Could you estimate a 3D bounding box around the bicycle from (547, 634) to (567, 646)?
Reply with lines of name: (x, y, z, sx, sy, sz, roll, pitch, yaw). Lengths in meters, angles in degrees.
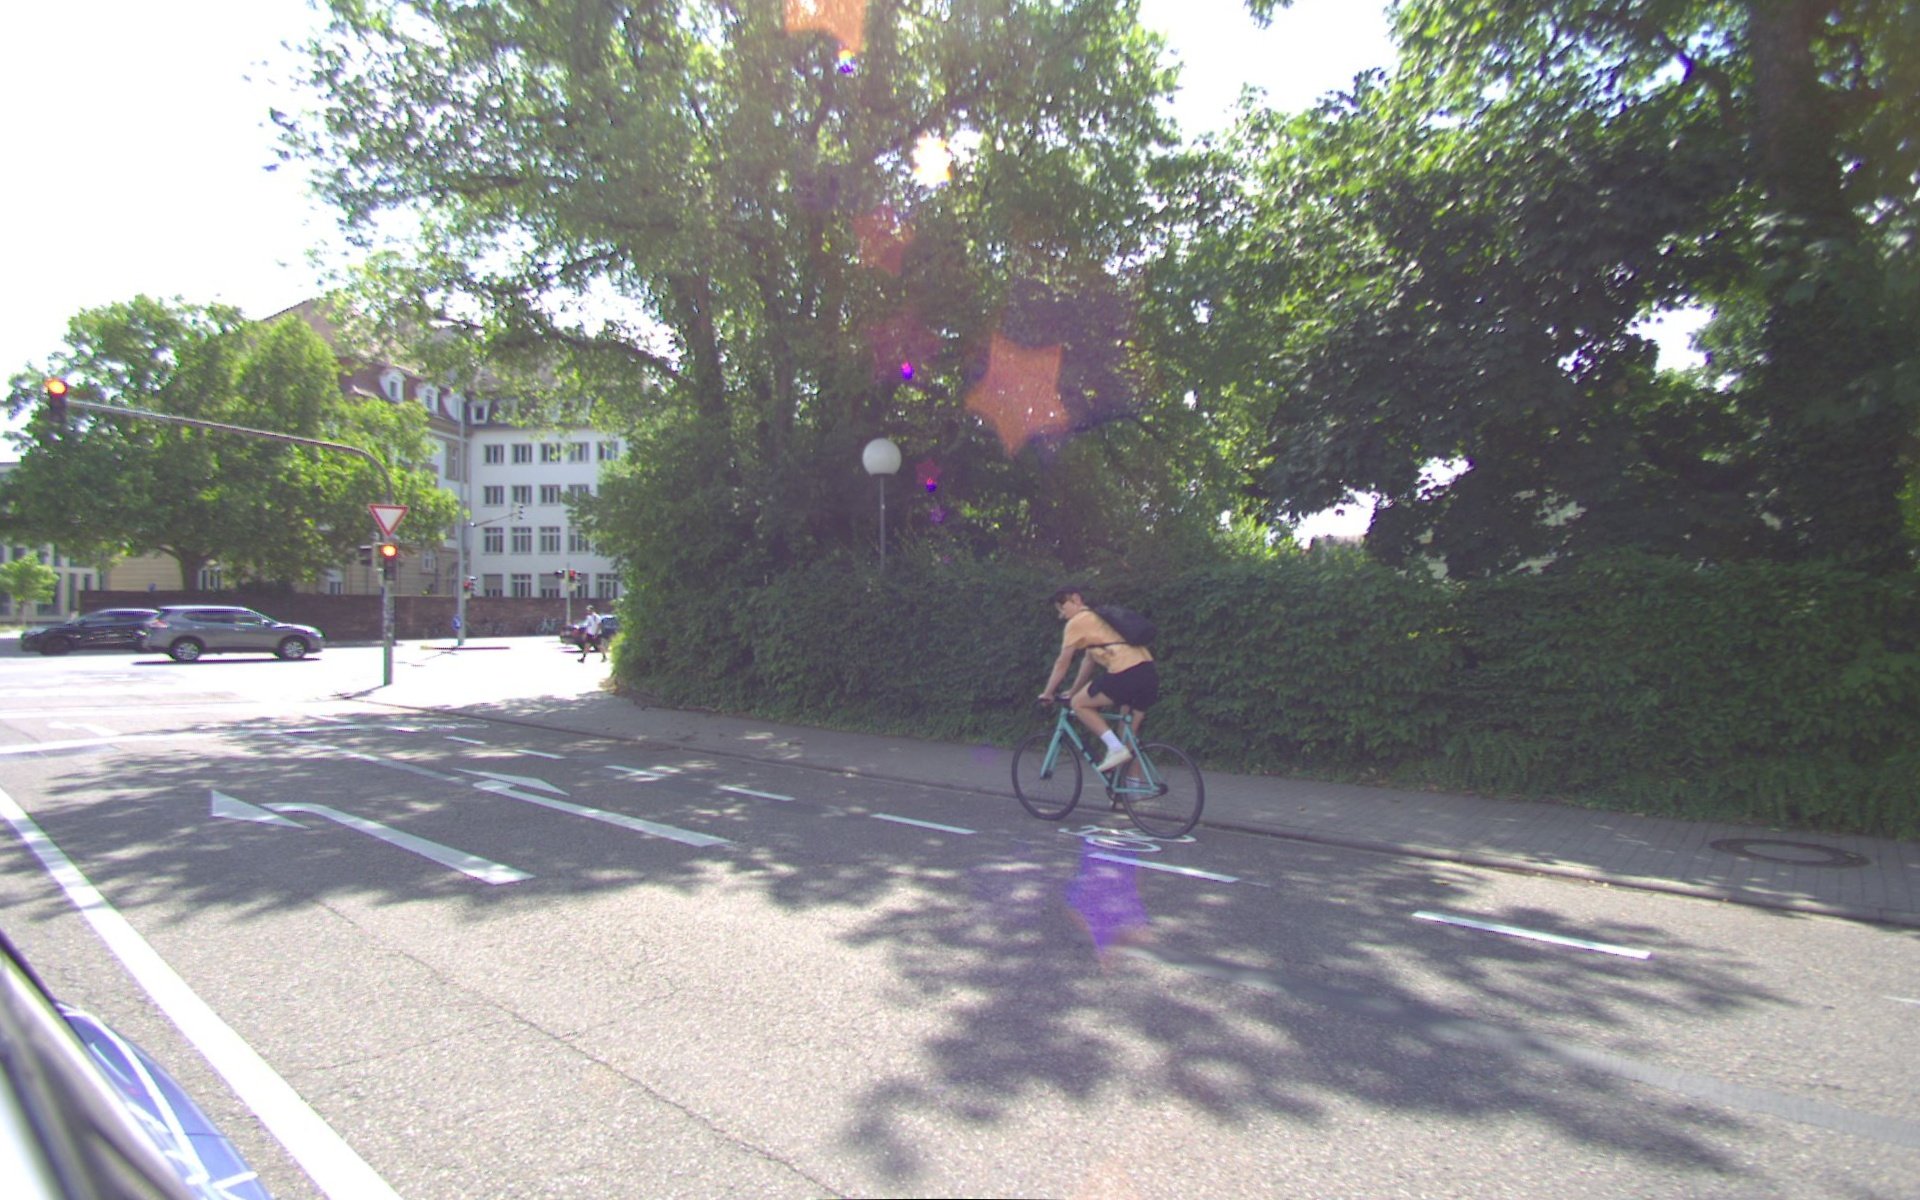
bicycle: (-23.888, 2.364, 59.942, 0.994, 0.687, 0.408, 2, 0, 3)

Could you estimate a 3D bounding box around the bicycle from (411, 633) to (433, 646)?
bicycle: (-28.447, 2.086, 53.537, 0.998, 0.687, 0.407, 1, 0, 17)

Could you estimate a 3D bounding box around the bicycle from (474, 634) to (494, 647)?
bicycle: (-26.491, 2.271, 56.326, 0.998, 0.687, 0.407, 1, 0, 17)

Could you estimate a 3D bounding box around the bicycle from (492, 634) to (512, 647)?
bicycle: (-25.967, 2.292, 57.405, 0.998, 0.687, 0.407, 1, 0, 17)

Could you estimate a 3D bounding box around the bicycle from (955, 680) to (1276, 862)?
bicycle: (1.052, 1.138, 7.275, 2.208, 0.996, 0.785, -1, -2, 41)

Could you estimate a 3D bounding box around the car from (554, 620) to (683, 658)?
car: (-13.435, 1.493, 39.994, 4.542, 1.397, 1.700, 1, 0, -41)

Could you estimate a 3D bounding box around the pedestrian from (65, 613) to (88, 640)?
pedestrian: (-58.129, 1.759, 66.589, 0.838, 1.803, 0.859, -1, -2, 23)

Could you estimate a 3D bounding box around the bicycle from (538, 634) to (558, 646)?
bicycle: (-24.166, 2.353, 59.315, 0.994, 0.687, 0.408, 2, 0, 3)

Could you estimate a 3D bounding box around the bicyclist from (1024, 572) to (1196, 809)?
bicyclist: (1.075, 0.604, 7.261, 1.018, 1.560, 0.685, -1, -2, 40)

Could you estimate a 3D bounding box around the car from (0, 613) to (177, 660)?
car: (-30.610, 1.244, 35.517, 1.999, 1.540, 4.651, -1, -2, 41)

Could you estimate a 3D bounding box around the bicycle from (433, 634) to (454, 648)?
bicycle: (-27.831, 2.223, 54.521, 0.998, 0.687, 0.407, 1, 0, 17)

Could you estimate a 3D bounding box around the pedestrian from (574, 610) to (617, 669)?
pedestrian: (-10.838, 1.164, 30.110, 0.854, 1.714, 0.918, -3, -4, 44)

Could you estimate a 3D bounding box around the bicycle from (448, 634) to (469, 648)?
bicycle: (-27.383, 2.240, 55.277, 0.998, 0.687, 0.407, 1, 0, 17)

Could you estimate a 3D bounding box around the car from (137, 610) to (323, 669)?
car: (-22.397, 1.171, 31.155, 4.411, 1.691, 1.827, 1, -1, -44)
